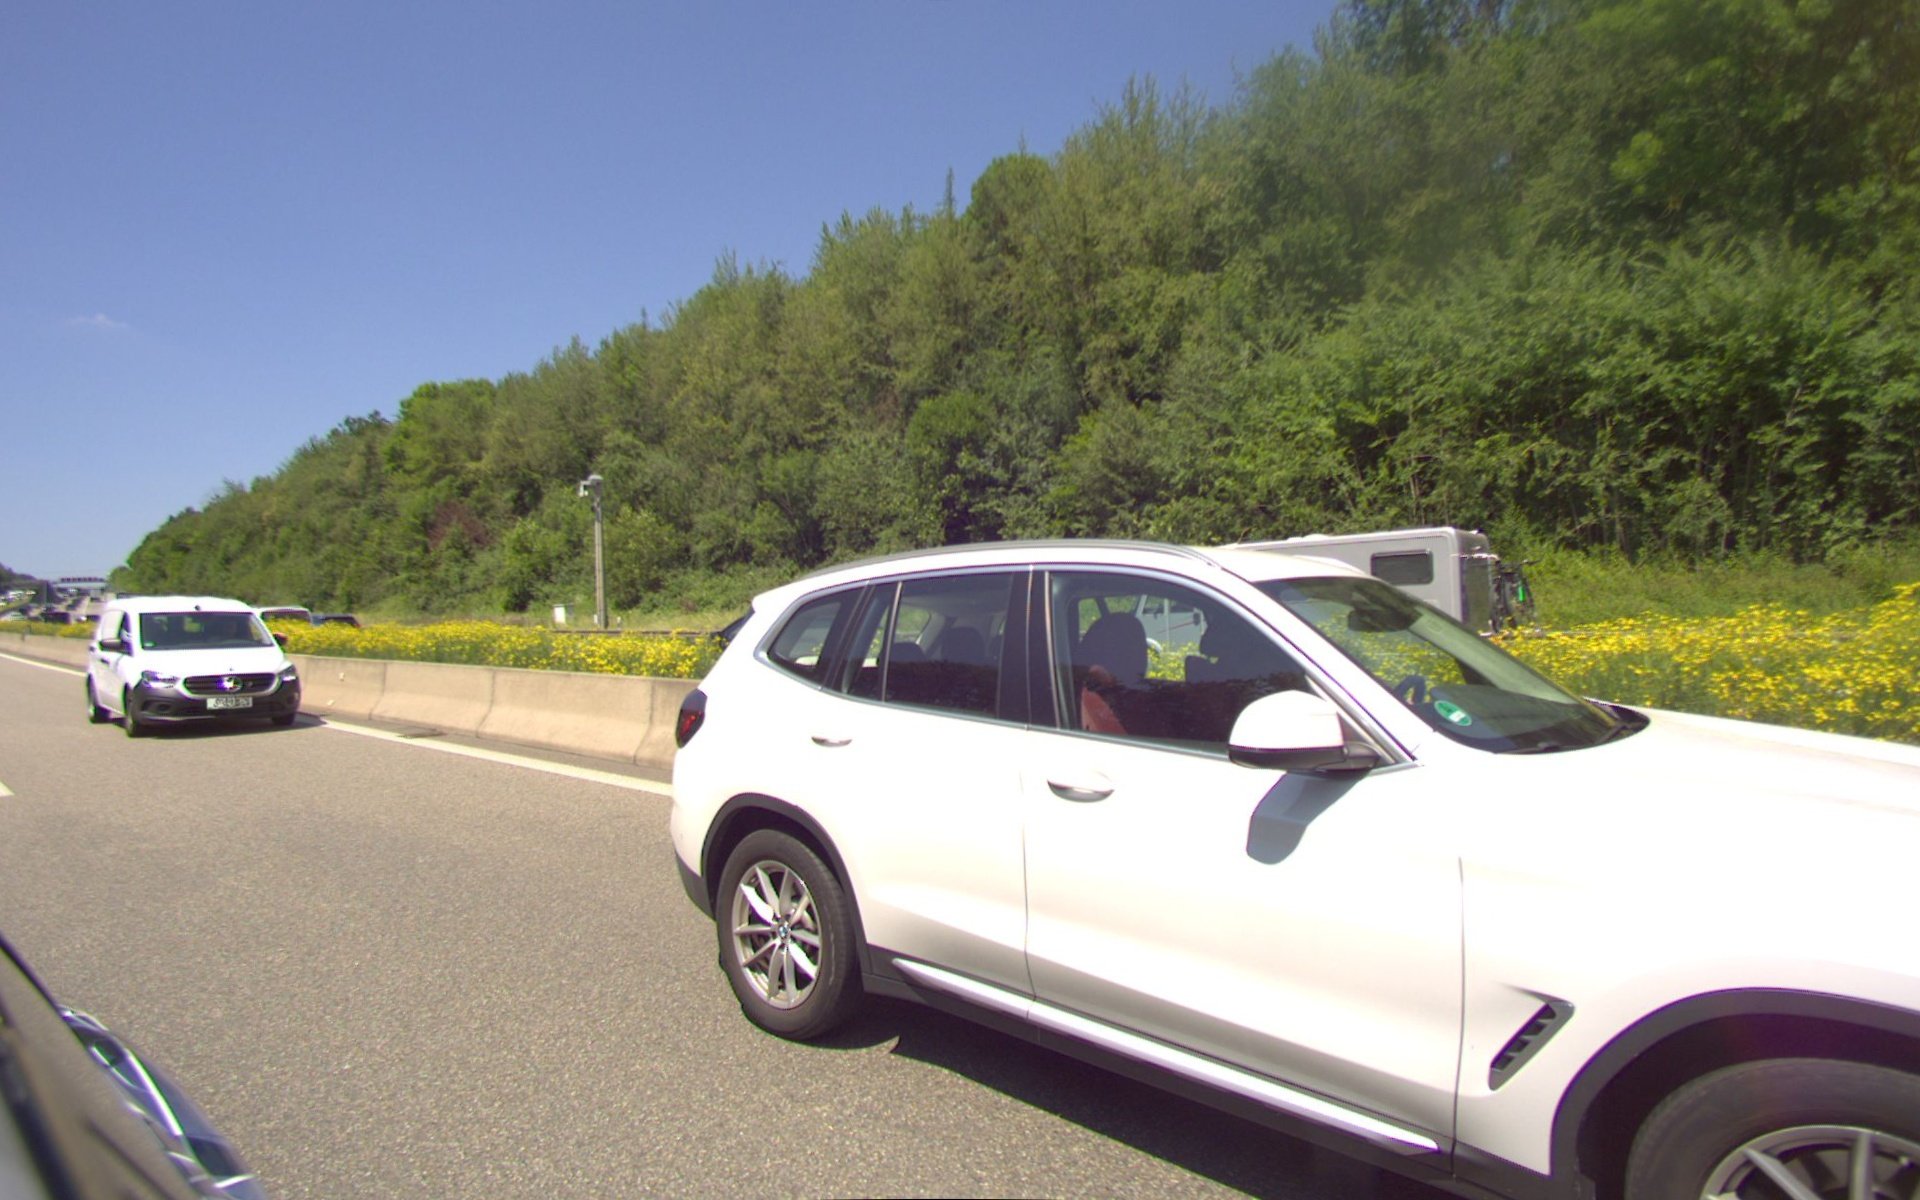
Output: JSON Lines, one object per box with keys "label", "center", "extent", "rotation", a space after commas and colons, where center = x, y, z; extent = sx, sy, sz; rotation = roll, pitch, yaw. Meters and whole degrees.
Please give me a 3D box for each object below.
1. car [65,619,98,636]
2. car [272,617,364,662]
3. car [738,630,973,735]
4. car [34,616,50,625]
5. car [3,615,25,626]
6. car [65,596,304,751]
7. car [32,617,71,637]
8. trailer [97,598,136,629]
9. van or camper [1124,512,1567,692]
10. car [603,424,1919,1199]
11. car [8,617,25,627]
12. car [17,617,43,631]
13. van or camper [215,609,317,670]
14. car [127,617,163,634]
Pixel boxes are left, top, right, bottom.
{"label": "car", "center": [-82.675, 2.608, 95.239], "extent": [4.000, 1.497, 1.972], "rotation": [0, 0, 43]}
{"label": "car", "center": [-26.152, 1.557, 41.174], "extent": [4.398, 1.703, 1.973], "rotation": [0, 0, 41]}
{"label": "car", "center": [-1.814, 1.264, 16.843], "extent": [3.855, 1.497, 1.789], "rotation": [-2, -1, 43]}
{"label": "car", "center": [-168.393, 3.816, 185.632], "extent": [3.981, 1.654, 1.927], "rotation": [-2, -1, 43]}
{"label": "car", "center": [-128.374, 2.798, 137.322], "extent": [4.001, 1.497, 1.971], "rotation": [0, 0, 44]}
{"label": "car", "center": [-10.932, 0.911, 14.131], "extent": [4.671, 1.826, 1.747], "rotation": [-2, -1, 41]}
{"label": "car", "center": [-73.118, 2.152, 81.432], "extent": [4.875, 1.484, 1.971], "rotation": [0, 0, 44]}
{"label": "trailer", "center": [-118.753, 1.831, 142.358], "extent": [13.935, 4.239, 2.685], "rotation": [0, 0, 44]}
{"label": "van or camper", "center": [6.398, 0.042, 17.660], "extent": [6.930, 2.580, 2.163], "rotation": [0, 0, 42]}
{"label": "car", "center": [1.036, 0.619, 3.101], "extent": [4.954, 1.707, 1.844], "rotation": [-2, -1, 41]}
{"label": "car", "center": [-165.945, 3.915, 177.958], "extent": [4.080, 1.691, 1.972], "rotation": [-2, -1, 43]}
{"label": "car", "center": [-103.055, 2.642, 112.112], "extent": [4.001, 1.497, 1.971], "rotation": [0, 0, 44]}
{"label": "van or camper", "center": [-24.660, 1.337, 35.907], "extent": [4.585, 2.029, 1.863], "rotation": [0, 0, 40]}
{"label": "car", "center": [-76.061, 2.364, 94.470], "extent": [4.170, 1.453, 1.972], "rotation": [0, 0, 42]}
